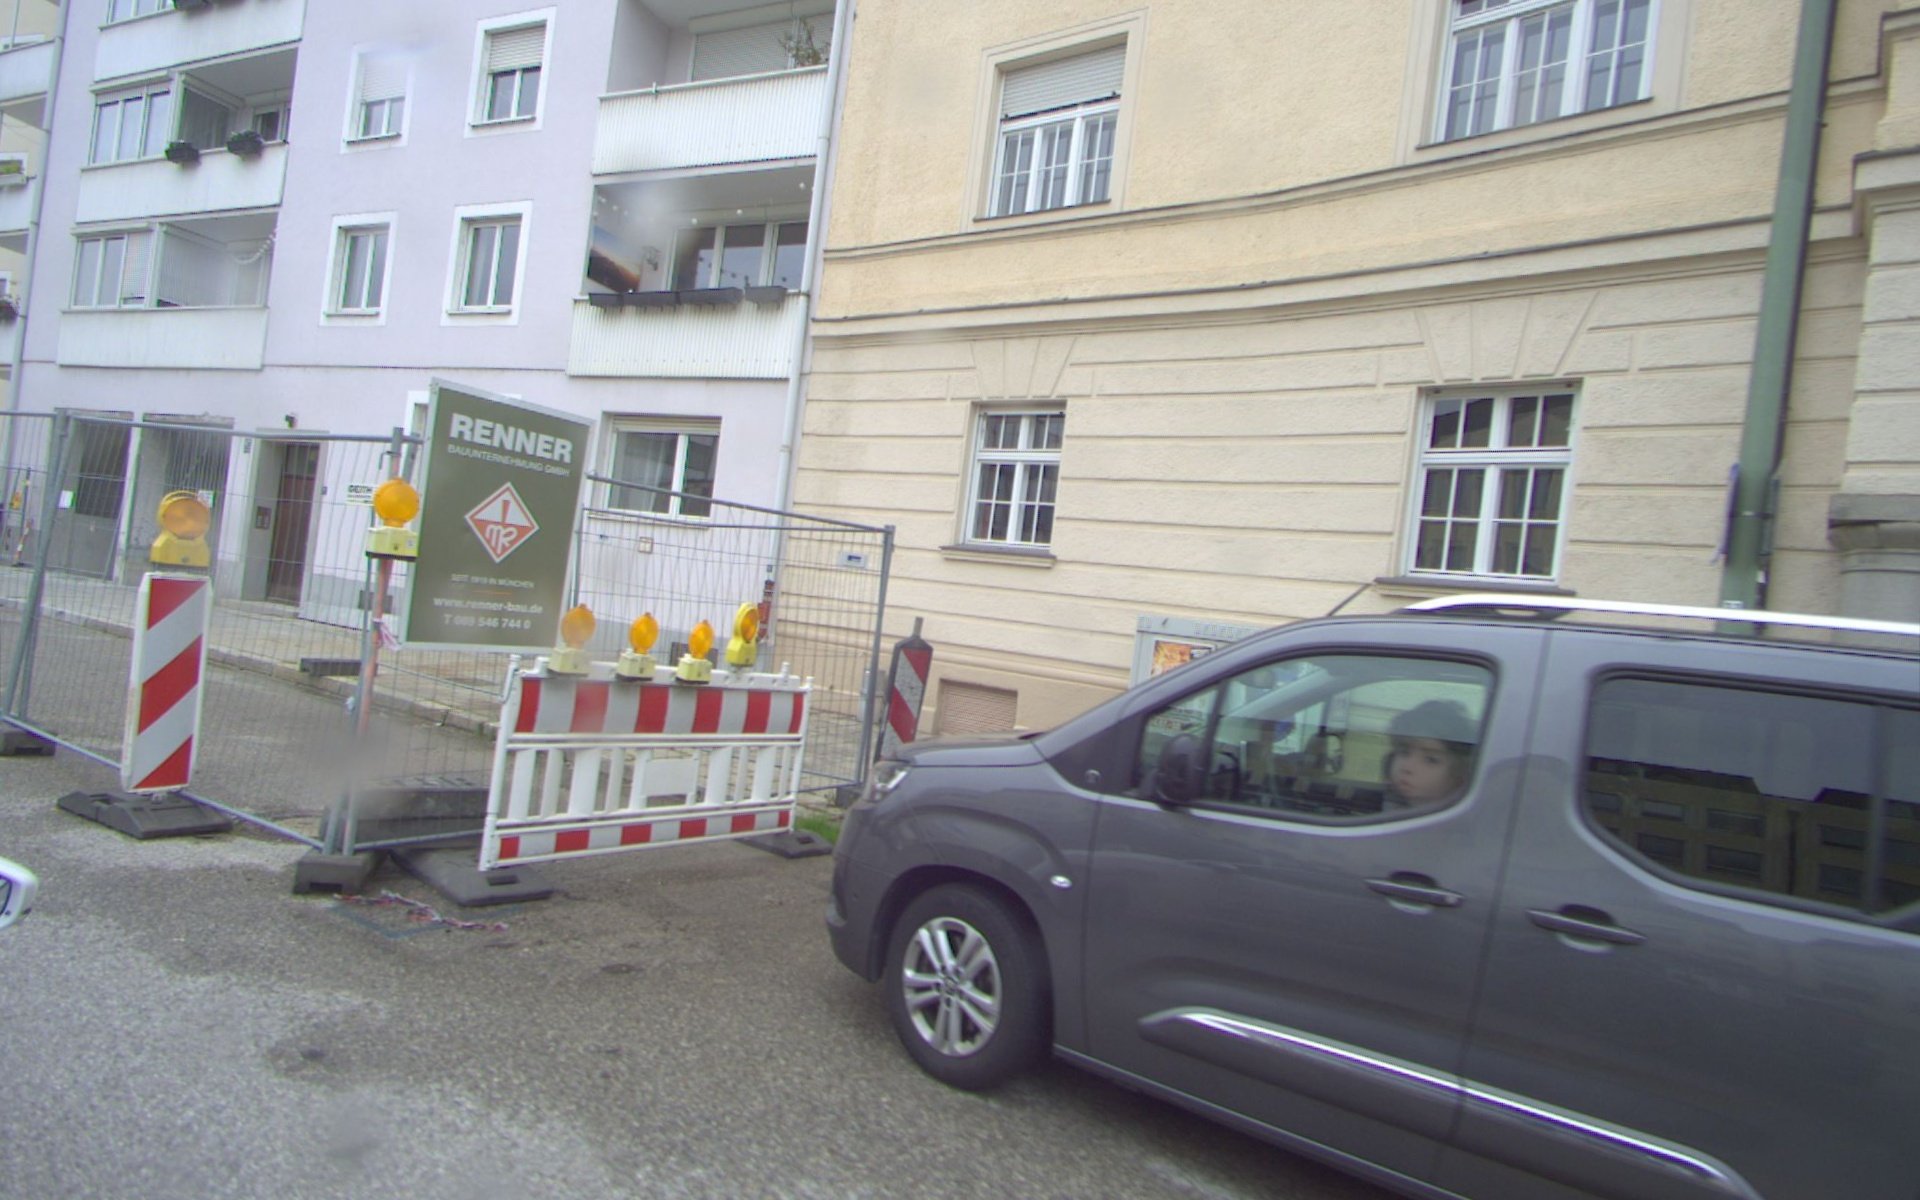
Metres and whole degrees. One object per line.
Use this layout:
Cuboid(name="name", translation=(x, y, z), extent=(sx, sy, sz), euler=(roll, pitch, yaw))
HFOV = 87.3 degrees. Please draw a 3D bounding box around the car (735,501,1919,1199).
Cuboid(name="car", translation=(1.532, 0.856, 3.401), extent=(4.167, 1.818, 1.841), euler=(7, -3, 31))
